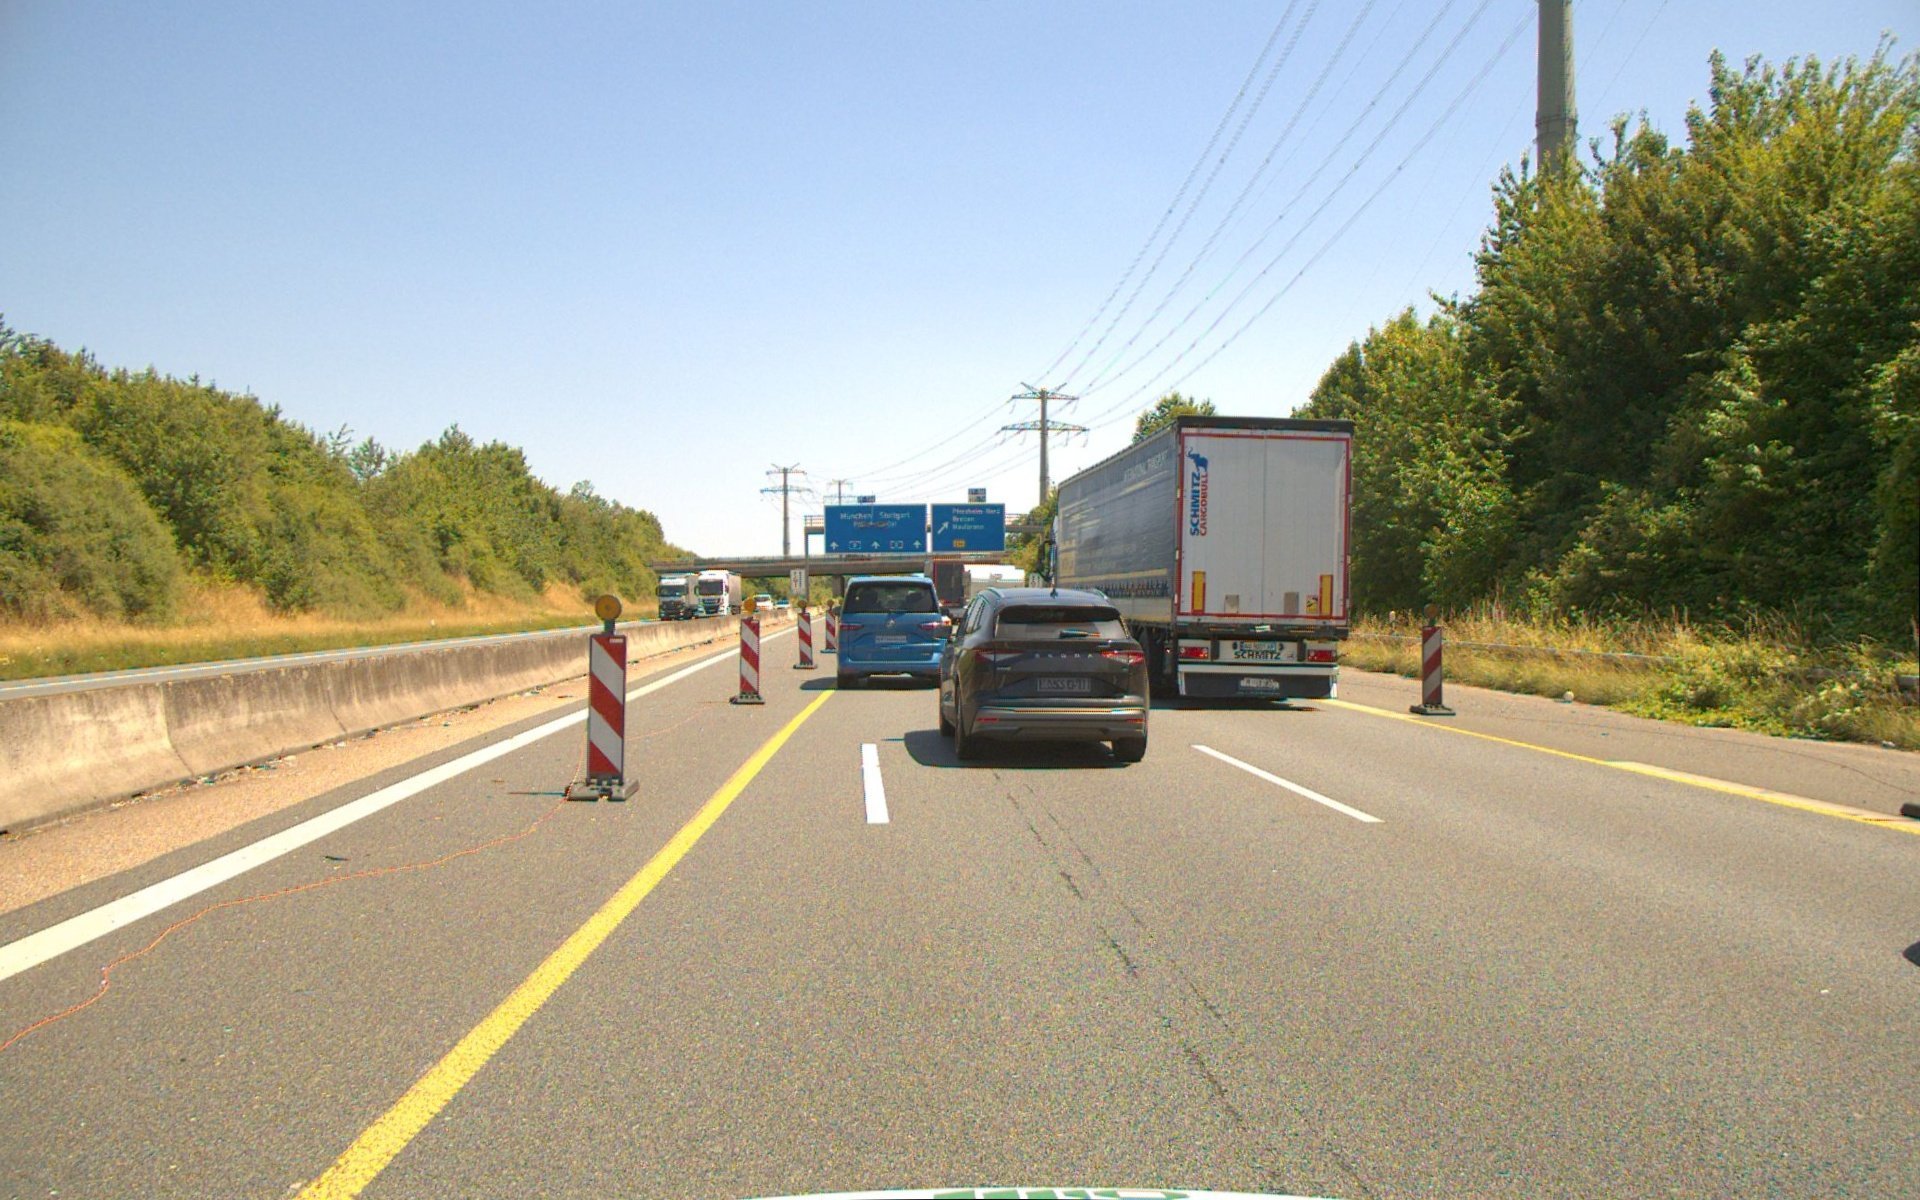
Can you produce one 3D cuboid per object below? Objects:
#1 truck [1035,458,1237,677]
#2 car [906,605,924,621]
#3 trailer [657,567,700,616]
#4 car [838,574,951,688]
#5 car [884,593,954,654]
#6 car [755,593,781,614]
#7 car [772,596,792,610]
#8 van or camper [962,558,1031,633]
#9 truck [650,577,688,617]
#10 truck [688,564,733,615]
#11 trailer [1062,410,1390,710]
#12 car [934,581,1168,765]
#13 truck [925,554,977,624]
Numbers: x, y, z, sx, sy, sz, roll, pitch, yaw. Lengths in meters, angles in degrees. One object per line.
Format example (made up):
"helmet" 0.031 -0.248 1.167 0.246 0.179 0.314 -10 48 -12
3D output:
"truck" 3.546 -0.626 35.502 2.965 4.159 7.788 0 0 -4
"car" -4.975 1.397 182.583 1.858 1.535 4.440 2 2 -4
"trailer" -25.742 -0.751 151.818 2.431 4.253 12.077 -1 0 -3
"car" -1.230 0.553 29.755 1.858 1.874 4.438 1 -1 -4
"car" -1.258 0.660 49.194 1.858 1.535 4.440 2 2 -4
"car" -16.948 0.316 145.896 1.829 1.824 5.452 -1 0 -2
"car" -18.885 0.319 175.376 1.727 1.497 4.632 -1 0 -1
"van or camper" 1.486 -0.197 70.563 2.534 3.020 6.082 2 0 -2
"truck" -25.304 -0.288 144.033 2.415 3.345 6.919 -1 0 -3
"truck" -21.786 -0.900 144.580 3.101 4.298 7.411 -1 0 -3
"trailer" 4.043 -0.556 28.541 3.005 4.113 11.477 0 0 -4
"car" 0.777 0.630 16.867 1.858 1.620 4.439 0 0 -4
"truck" -0.674 -0.647 106.882 3.016 4.219 13.049 0 0 -2
